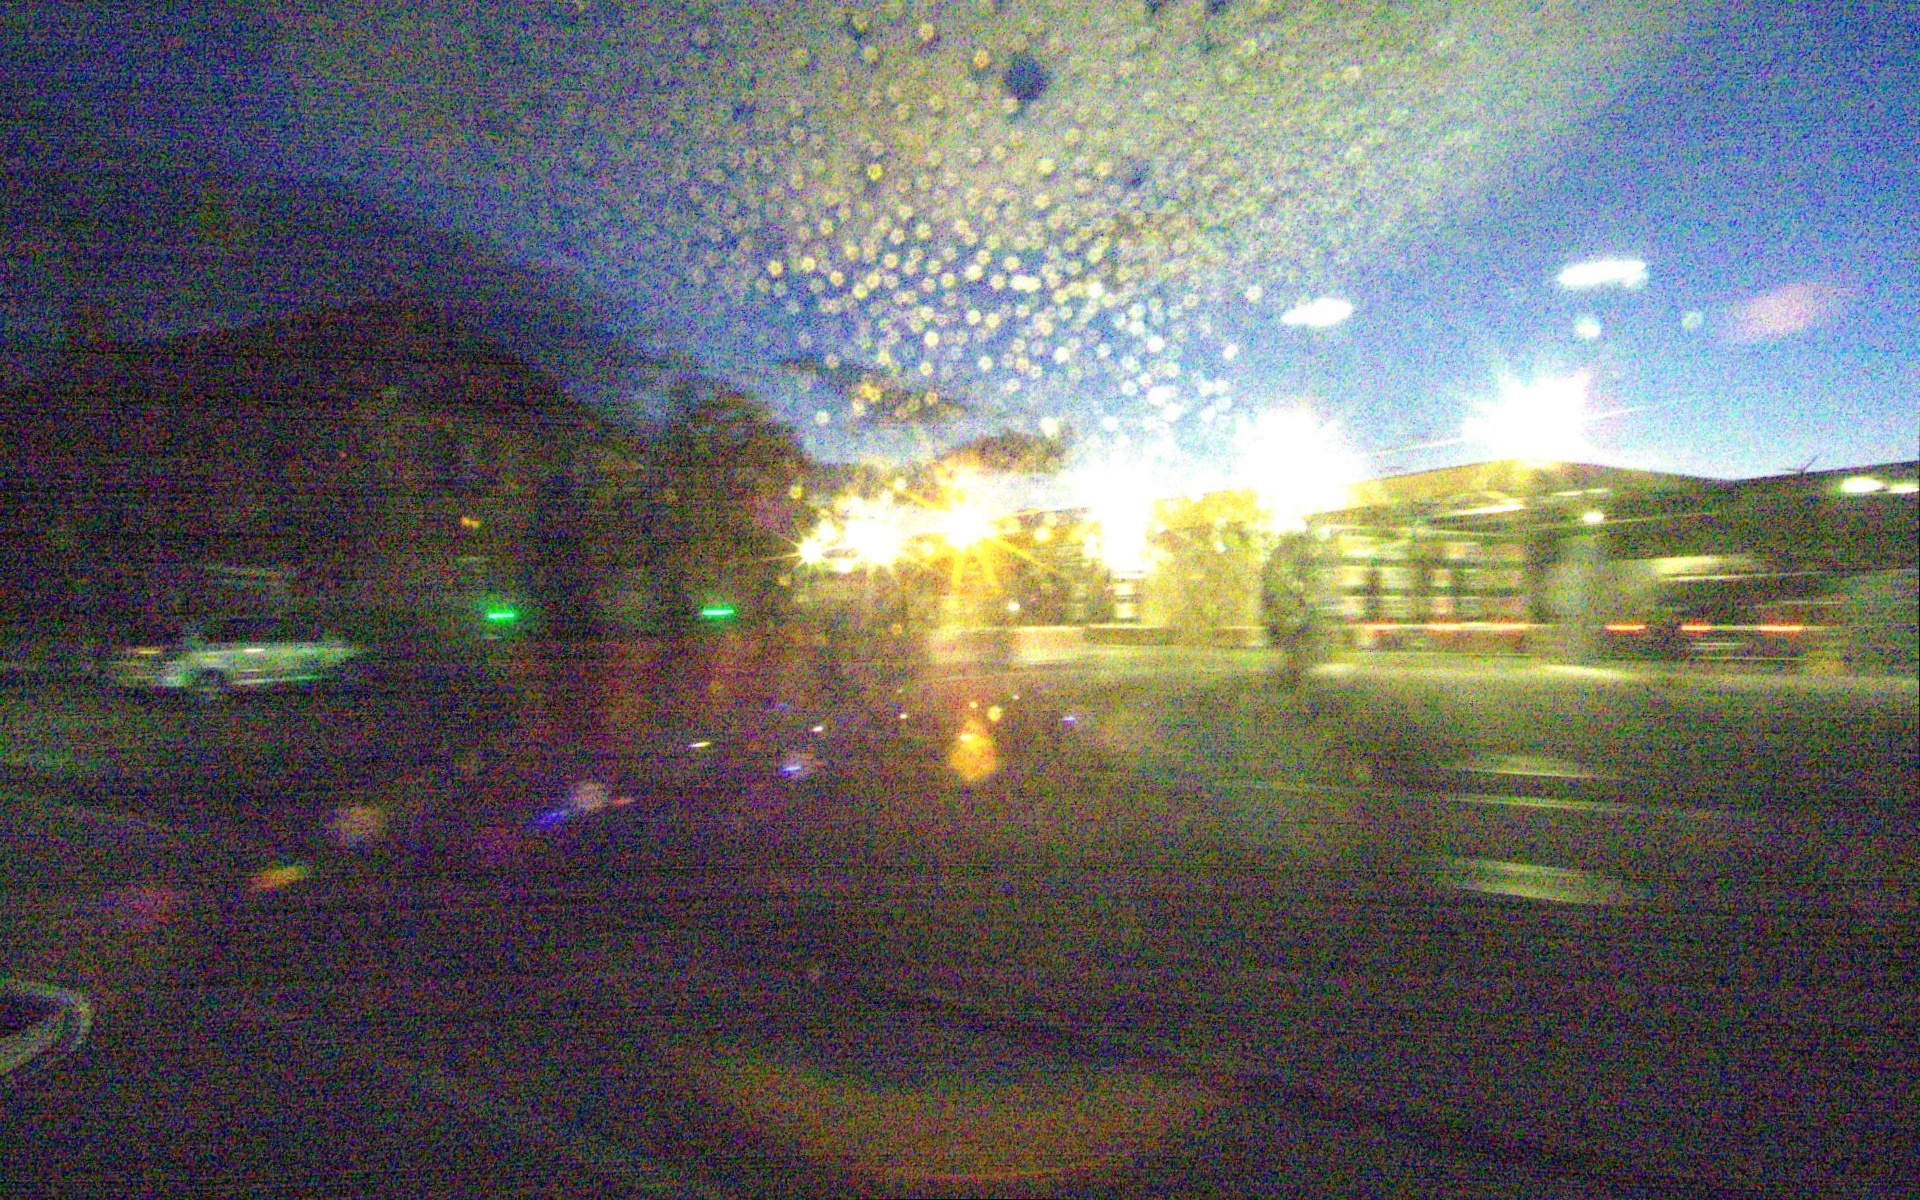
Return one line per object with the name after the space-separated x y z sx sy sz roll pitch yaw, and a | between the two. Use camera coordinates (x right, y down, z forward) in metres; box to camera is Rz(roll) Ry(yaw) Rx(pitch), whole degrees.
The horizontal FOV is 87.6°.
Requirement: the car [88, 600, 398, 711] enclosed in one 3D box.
-13.045 0.926 18.593 1.859 1.669 4.328 -1 2 20 | car
